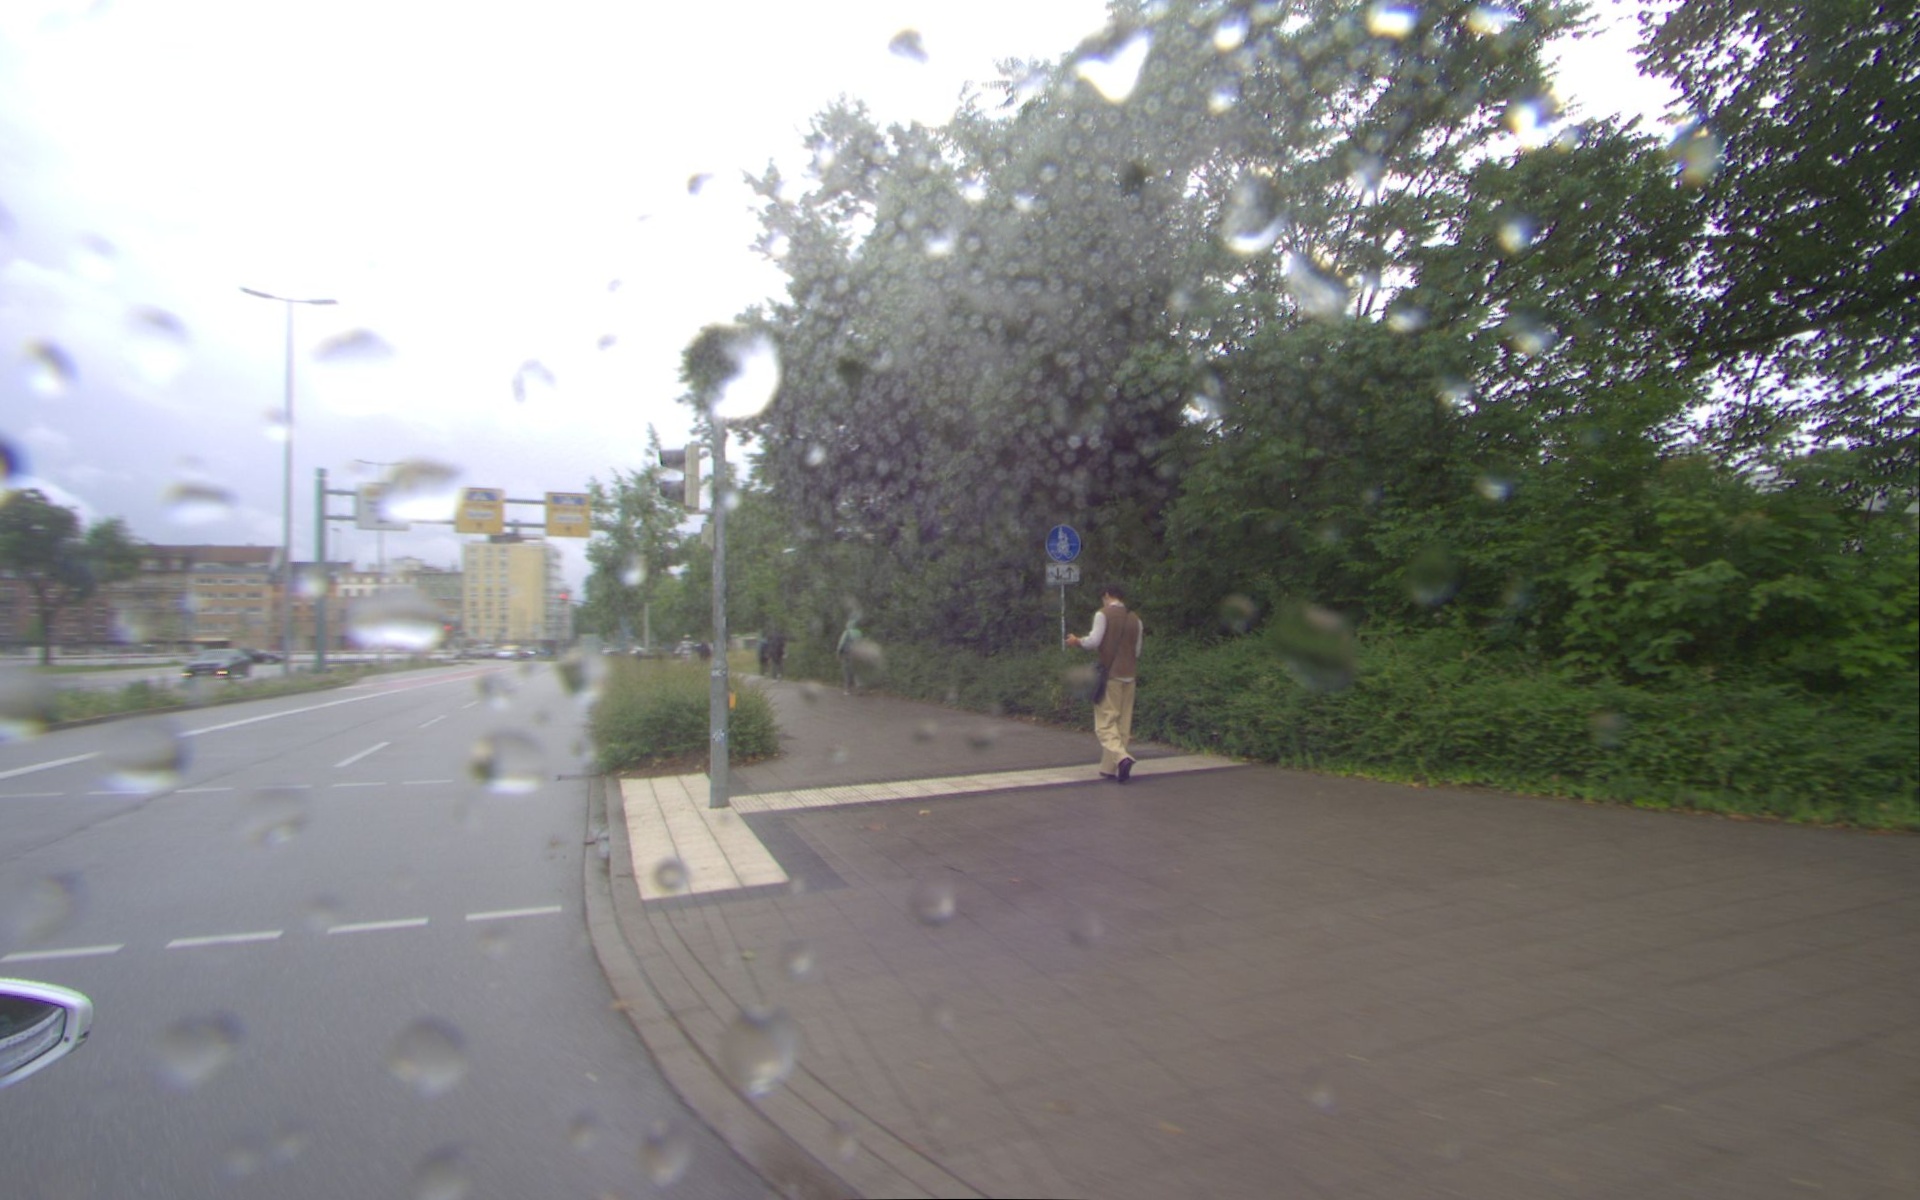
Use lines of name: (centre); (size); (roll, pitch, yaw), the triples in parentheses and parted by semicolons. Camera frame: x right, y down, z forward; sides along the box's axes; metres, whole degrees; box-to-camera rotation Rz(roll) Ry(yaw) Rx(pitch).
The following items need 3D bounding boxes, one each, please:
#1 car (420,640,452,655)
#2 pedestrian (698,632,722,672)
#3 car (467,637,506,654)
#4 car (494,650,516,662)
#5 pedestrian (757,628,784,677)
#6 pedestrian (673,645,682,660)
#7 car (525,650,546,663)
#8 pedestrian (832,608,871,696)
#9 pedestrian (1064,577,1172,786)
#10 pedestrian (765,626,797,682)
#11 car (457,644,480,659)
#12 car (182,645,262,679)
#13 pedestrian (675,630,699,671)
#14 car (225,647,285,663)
car: (-103.861, 9.393, 198.504); (5.272, 2.924, 2.336); (0, -2, -16)
pedestrian: (-10.932, 2.269, 43.793); (0.920, 1.726, 0.827); (2, 1, -17)
car: (-94.886, 9.150, 200.795); (6.642, 3.423, 2.806); (0, -2, -16)
car: (-55.381, 6.821, 121.883); (1.654, 1.422, 4.155); (-1, -2, -14)
pedestrian: (-7.047, 1.940, 37.221); (0.919, 1.819, 0.828); (0, -1, -15)
pedestrian: (-29.791, 5.504, 105.501); (0.742, 1.608, 0.936); (0, -2, -8)
car: (-55.454, 7.367, 130.846); (1.964, 1.656, 4.598); (-2, -2, -15)
pedestrian: (-2.575, 1.223, 23.715); (0.779, 2.039, 0.828); (0, -1, -15)
pedestrian: (1.482, 0.751, 9.516); (0.719, 1.883, 0.850); (0, -1, -15)
pedestrian: (-5.740, 1.717, 32.020); (0.919, 1.769, 1.044); (0, -2, -15)
car: (-59.260, 6.220, 120.731); (1.680, 1.727, 3.817); (0, -2, -14)
car: (-37.276, 3.112, 50.715); (1.782, 1.559, 4.696); (-1, -2, -17)
pedestrian: (-11.870, 2.189, 43.500); (0.920, 1.744, 0.827); (2, 1, -17)
car: (-63.737, 4.942, 90.619); (4.139, 1.420, 1.613); (1, -2, -25)
